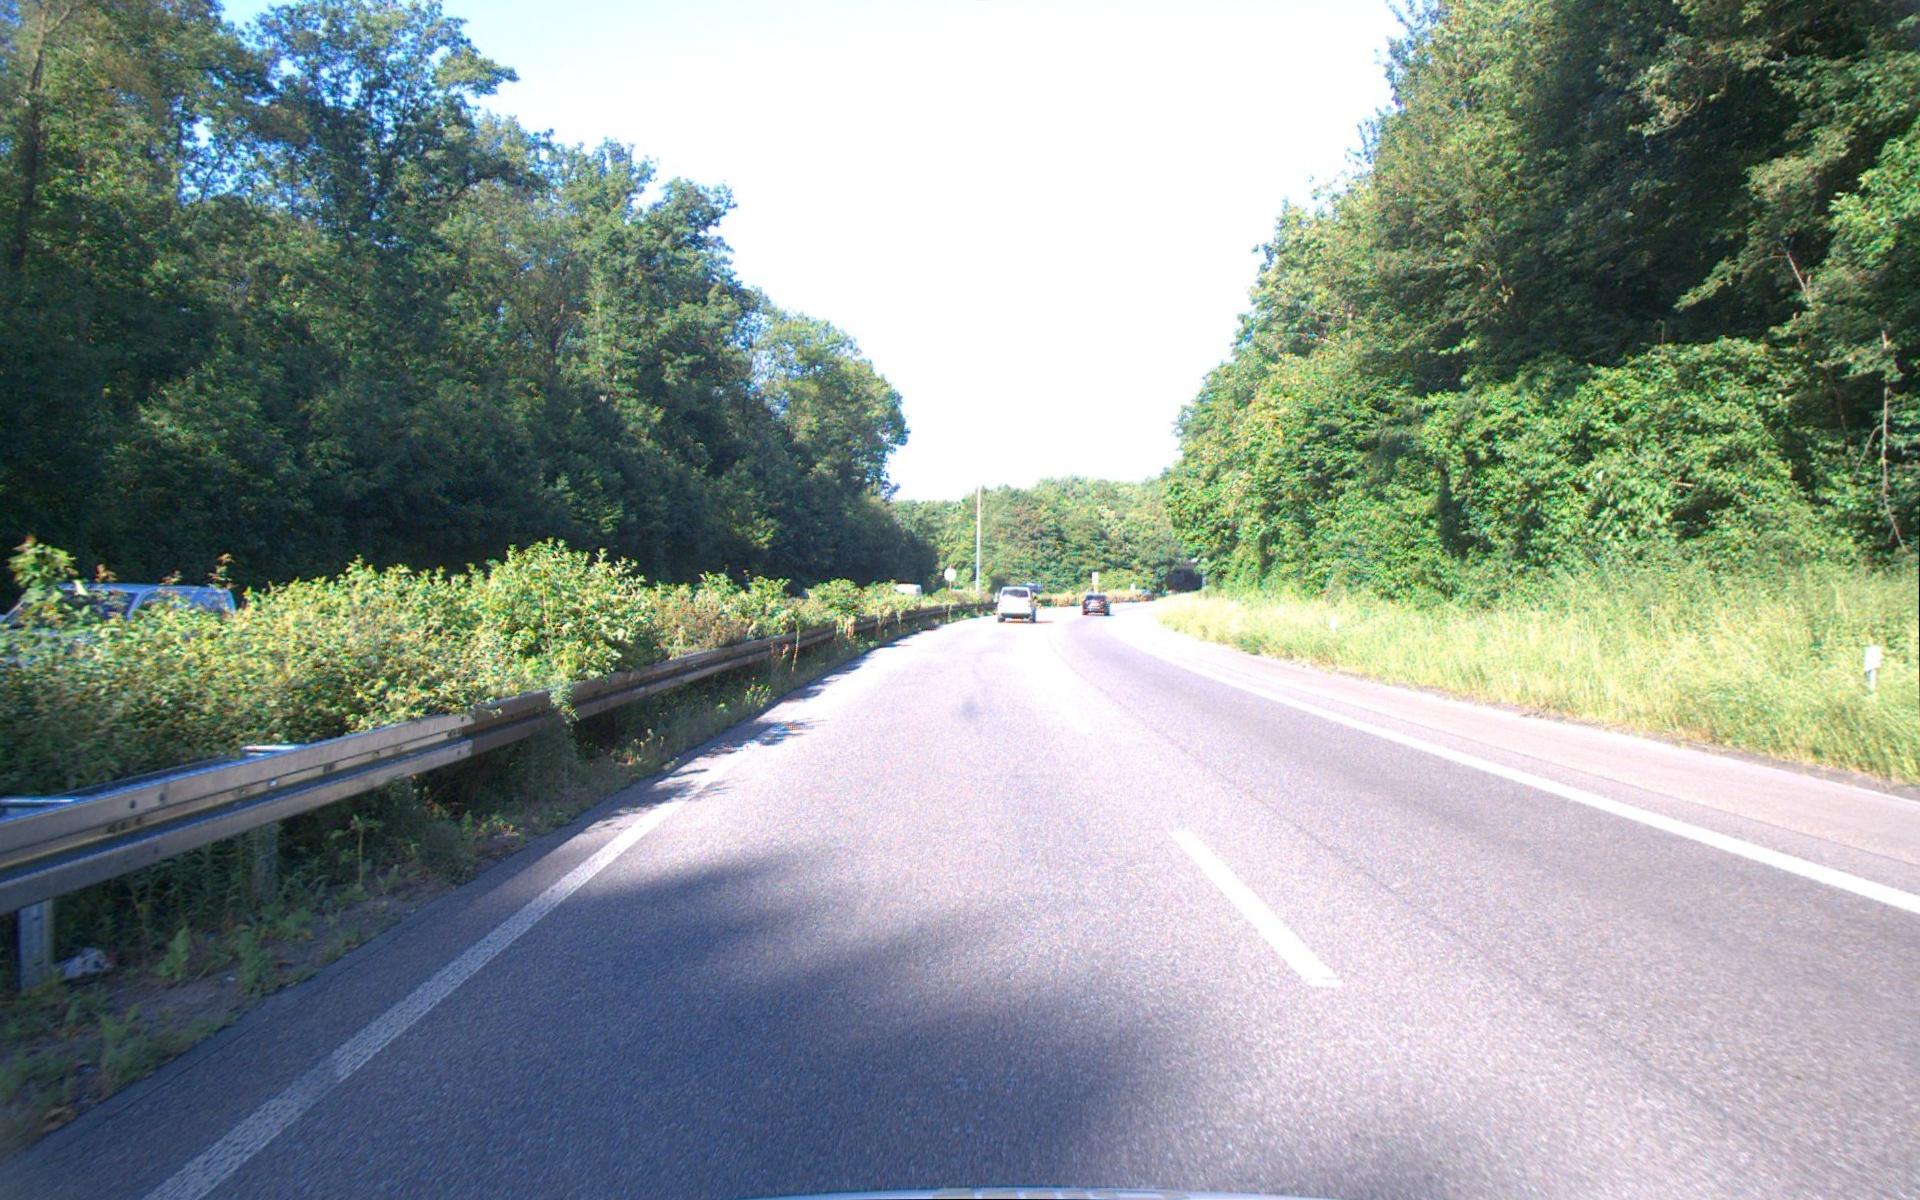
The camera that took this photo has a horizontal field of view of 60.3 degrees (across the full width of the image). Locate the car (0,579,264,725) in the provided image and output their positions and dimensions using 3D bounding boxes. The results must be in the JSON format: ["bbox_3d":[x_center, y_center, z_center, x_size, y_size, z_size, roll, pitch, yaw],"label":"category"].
[{"bbox_3d":[-12.021,0.686,23.989,1.953,1.893,4.708,1,0,-2],"label":"car"}]

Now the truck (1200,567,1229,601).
[{"bbox_3d":[35.032,-2.178,227.399,3.654,4.419,9.312,1,0,11],"label":"truck"}]

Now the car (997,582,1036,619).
[{"bbox_3d":[2.863,0.029,84.458,1.911,1.813,4.588,1,0,2],"label":"car"}]

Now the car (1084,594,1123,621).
[{"bbox_3d":[10.074,0.510,115.573,1.910,1.813,4.591,1,0,15],"label":"car"}]

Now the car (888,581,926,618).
[{"bbox_3d":[-3.378,-0.016,107.032,1.874,2.292,5.787,1,0,4],"label":"car"}]
